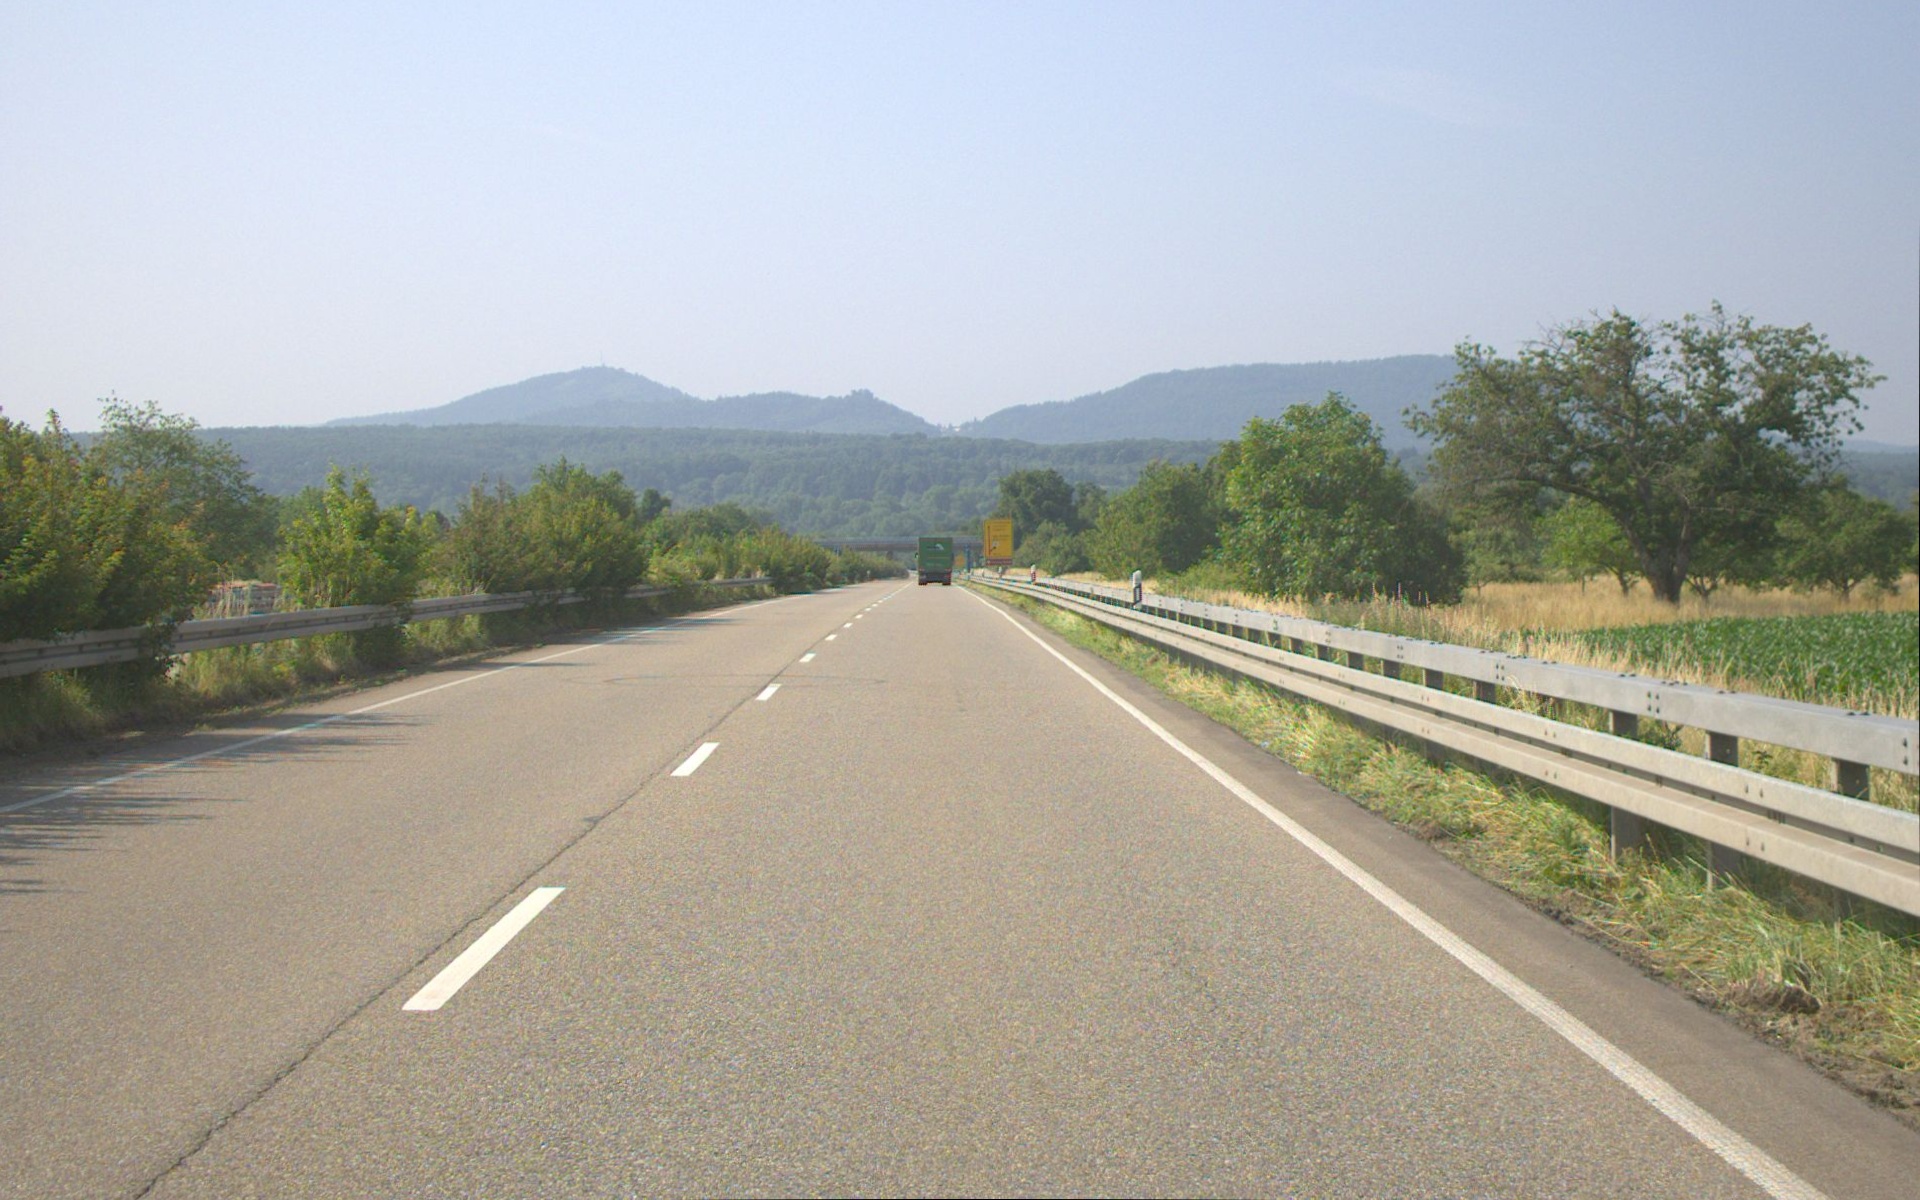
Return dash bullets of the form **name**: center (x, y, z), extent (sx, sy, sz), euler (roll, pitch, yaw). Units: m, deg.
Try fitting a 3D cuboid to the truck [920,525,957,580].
- **truck**: center (-1.632, -3.671, 262.424), extent (2.722, 3.952, 10.416), euler (1, 2, 0)
